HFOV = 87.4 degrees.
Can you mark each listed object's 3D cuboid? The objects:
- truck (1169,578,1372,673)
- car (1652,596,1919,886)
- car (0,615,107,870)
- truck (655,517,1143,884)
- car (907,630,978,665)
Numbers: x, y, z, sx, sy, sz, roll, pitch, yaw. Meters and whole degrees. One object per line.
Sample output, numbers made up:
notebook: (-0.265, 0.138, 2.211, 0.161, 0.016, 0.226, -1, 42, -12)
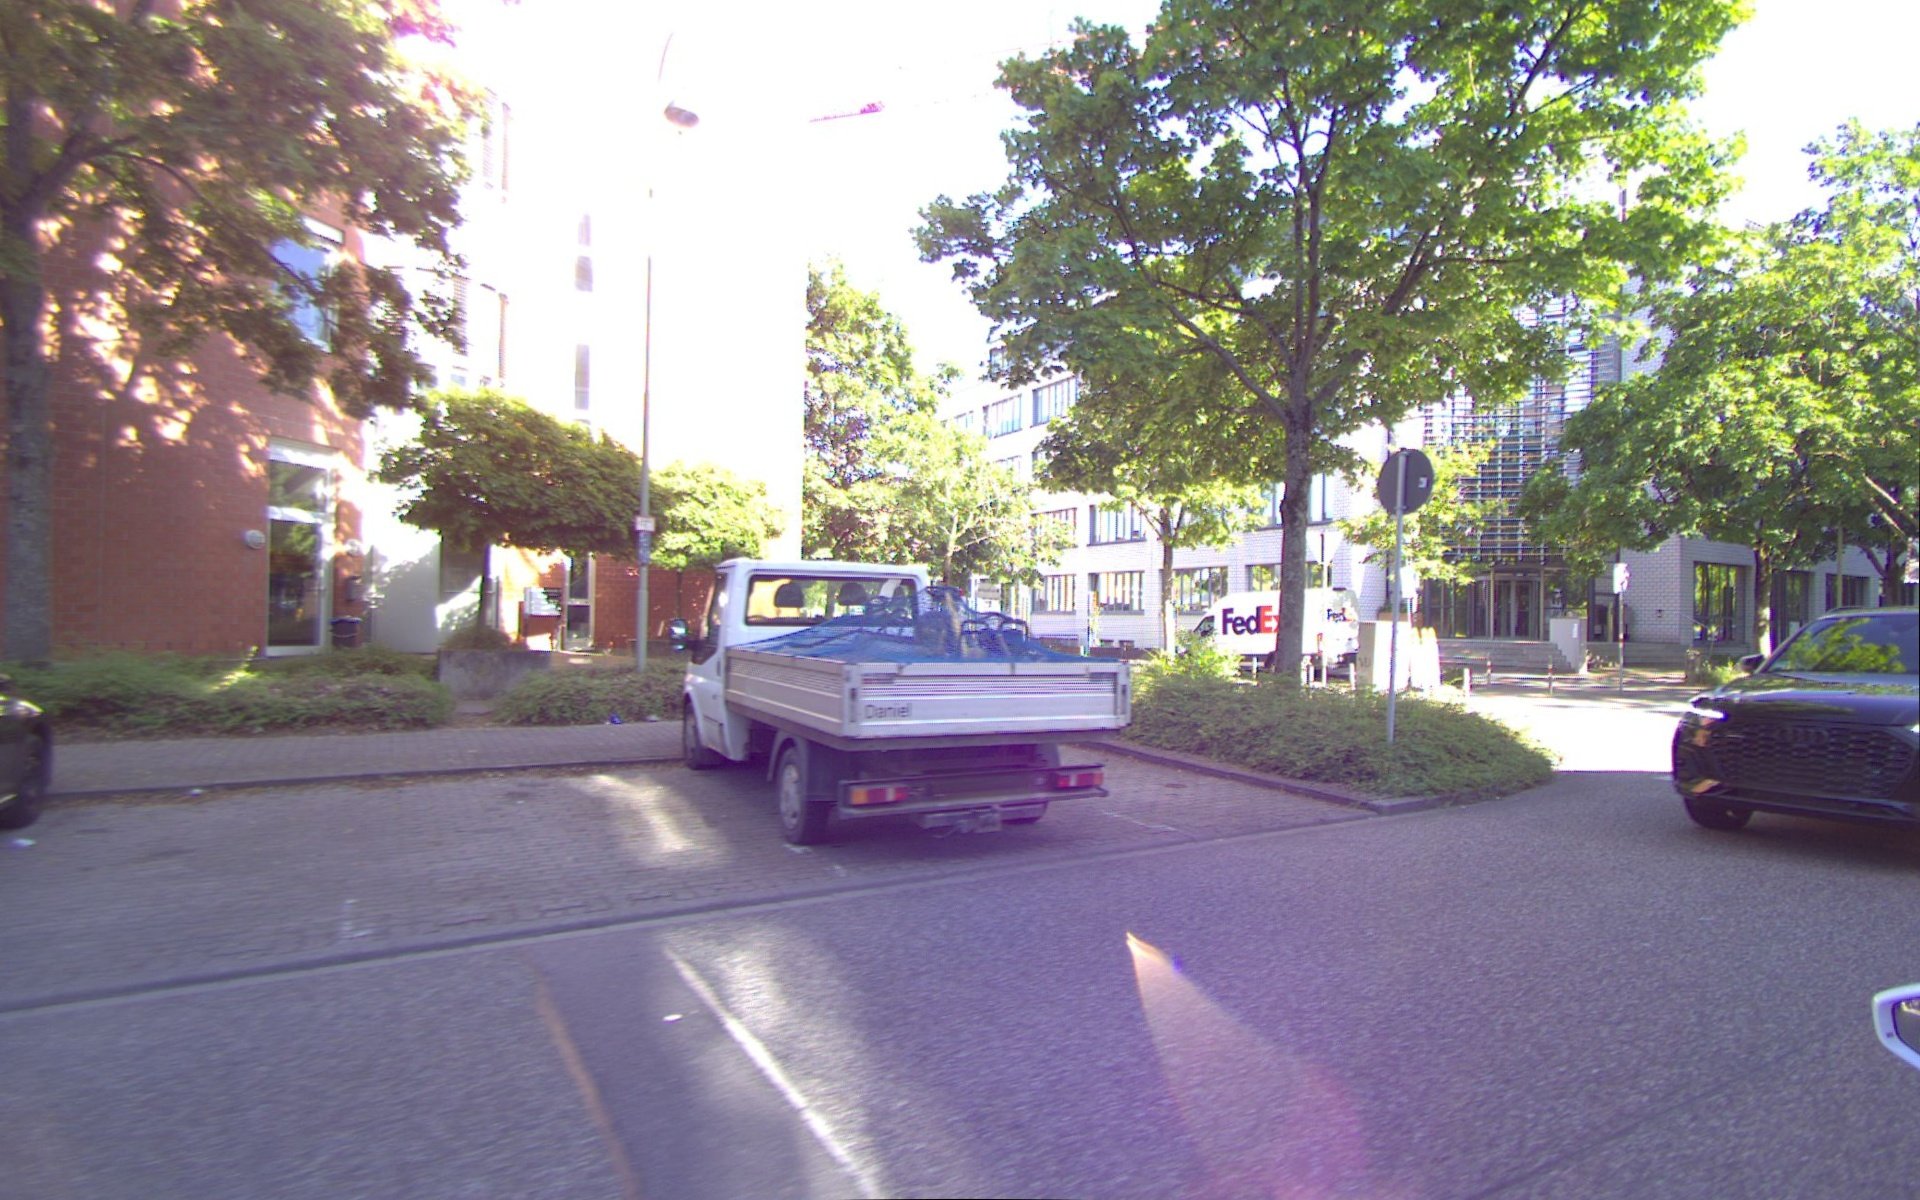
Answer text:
truck: (9.770, 0.805, 32.228, 2.549, 2.740, 6.072, 1, -2, -31)
car: (7.215, 0.879, 7.489, 4.305, 1.706, 1.881, 1, -2, -33)
car: (-6.216, 0.811, 5.193, 1.765, 1.454, 3.974, 1, -1, -26)
truck: (-0.902, 0.615, 8.155, 2.111, 1.985, 4.966, 1, -2, -28)
car: (-0.922, 2.388, 51.210, 1.985, 1.700, 3.969, 1, -2, -29)
